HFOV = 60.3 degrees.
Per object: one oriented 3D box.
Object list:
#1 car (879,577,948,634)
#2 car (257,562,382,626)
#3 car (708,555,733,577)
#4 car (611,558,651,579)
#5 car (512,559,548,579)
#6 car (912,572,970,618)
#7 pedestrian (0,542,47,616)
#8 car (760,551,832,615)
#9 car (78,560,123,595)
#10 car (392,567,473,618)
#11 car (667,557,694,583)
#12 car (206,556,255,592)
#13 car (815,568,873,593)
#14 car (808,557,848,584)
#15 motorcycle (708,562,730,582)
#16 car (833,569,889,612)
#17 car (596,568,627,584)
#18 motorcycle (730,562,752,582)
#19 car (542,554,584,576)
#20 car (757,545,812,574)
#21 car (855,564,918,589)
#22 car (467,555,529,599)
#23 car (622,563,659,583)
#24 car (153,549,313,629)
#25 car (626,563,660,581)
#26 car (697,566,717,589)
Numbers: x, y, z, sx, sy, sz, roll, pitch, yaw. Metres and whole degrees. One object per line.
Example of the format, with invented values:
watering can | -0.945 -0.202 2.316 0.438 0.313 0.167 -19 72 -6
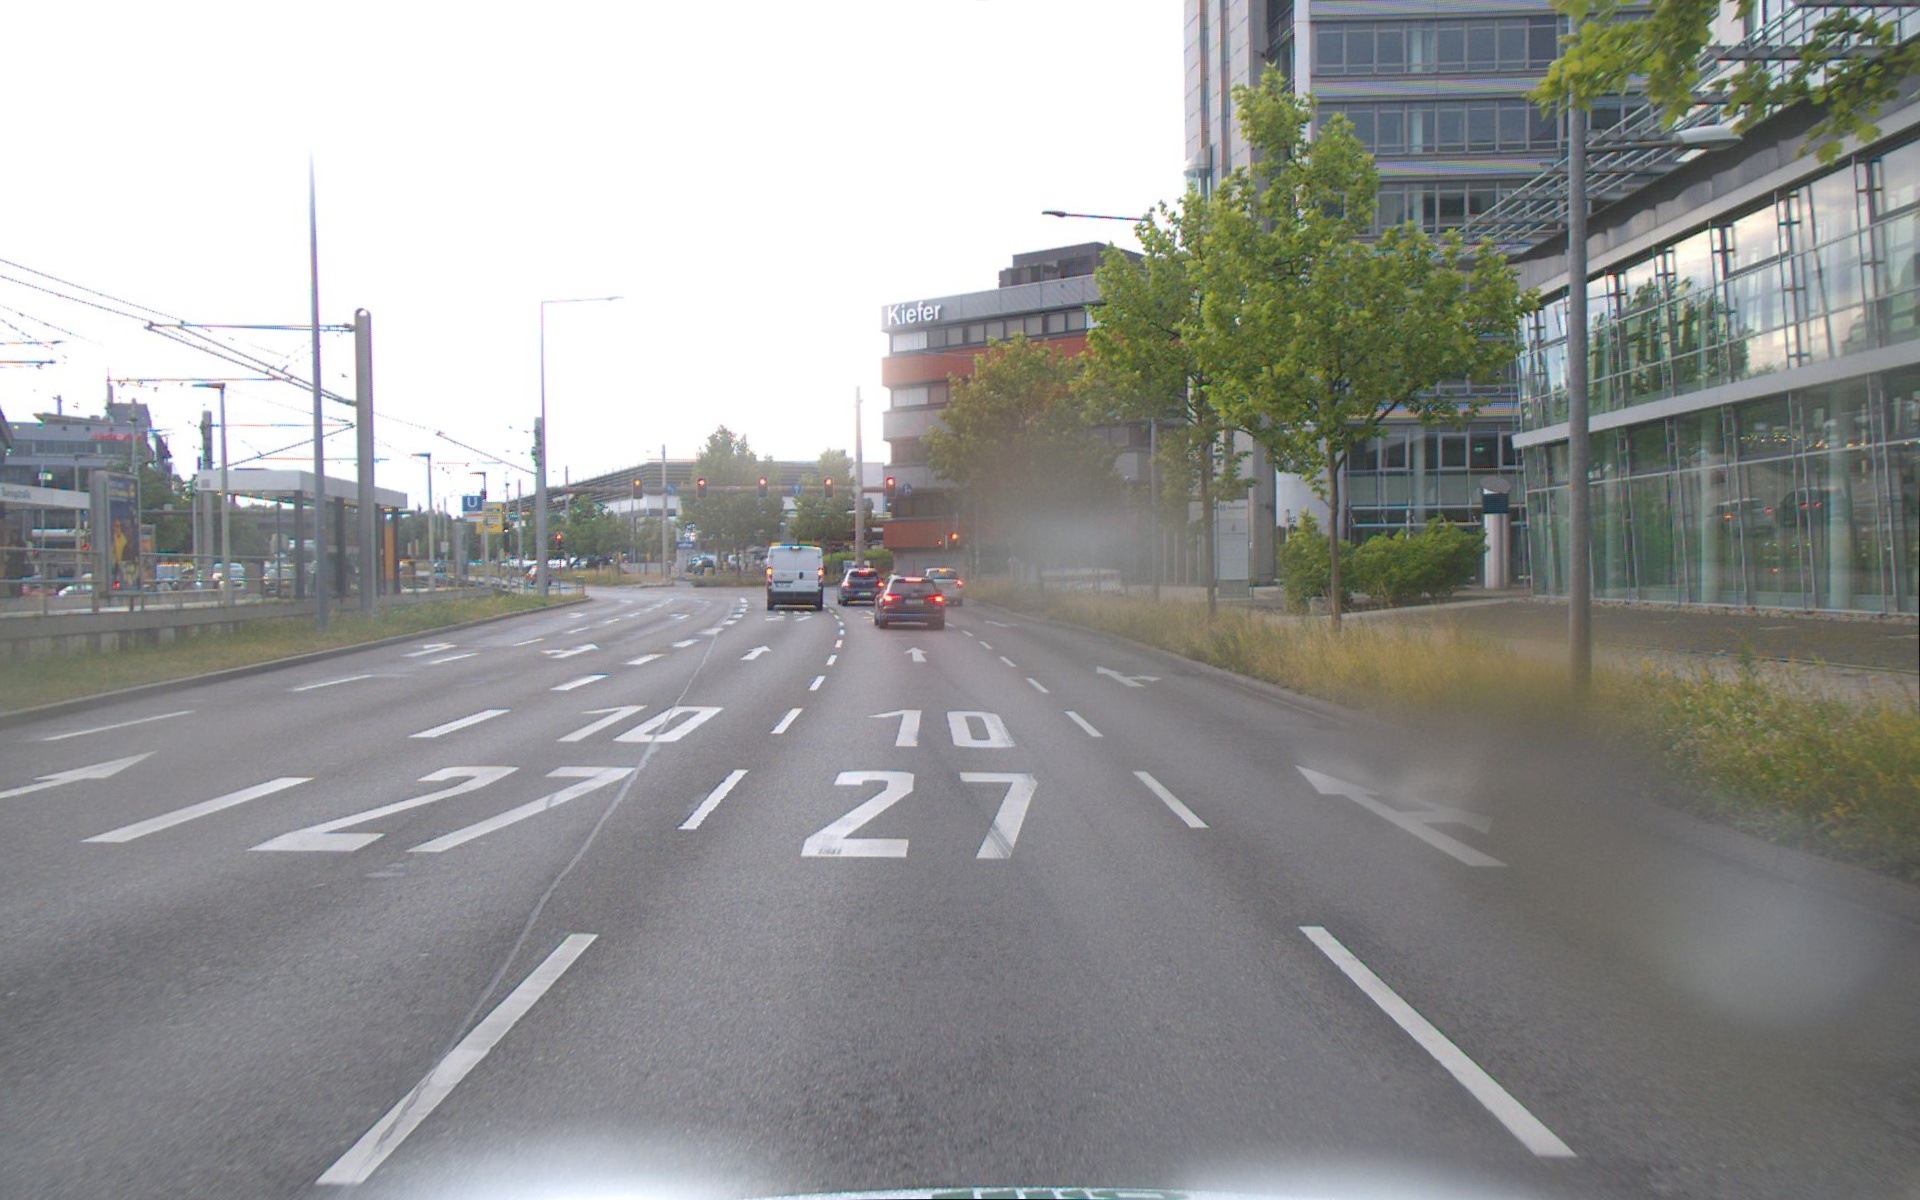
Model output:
car | -1.234 0.114 45.570 1.728 1.489 4.627 0 0 0
car | -16.020 -0.114 41.590 1.955 1.478 3.842 1 -2 -6
car | -24.903 -3.528 172.199 1.962 2.049 3.980 1 -3 -17
car | -35.605 -3.422 179.137 3.932 2.049 1.986 1 -3 -23
car | -51.149 -3.677 196.645 3.932 2.049 1.986 1 -3 -23
car | -0.799 -0.224 66.587 1.982 1.800 3.995 1 1 -6
pedestrian | -23.483 -0.518 41.458 0.737 1.782 0.763 1 -3 -5
car | -5.953 -0.591 60.518 2.462 2.215 5.145 1 0 -4
car | -56.532 -1.467 108.788 1.979 2.049 3.947 3 -4 -37
car | -19.236 -0.253 60.462 1.955 1.704 3.842 3 -1 -6
car | -25.615 -2.729 151.593 1.962 2.049 3.981 1 -3 -17
car | -46.741 -1.662 105.903 1.979 2.049 3.947 3 -4 -37
car | -8.211 -1.367 117.375 3.932 1.651 2.014 0 -1 44
car | -11.777 -2.606 147.413 1.973 2.049 3.958 2 -3 -30
motorcycle | -27.742 -3.221 190.579 1.961 2.049 3.981 1 -3 -16
car | -4.026 -0.345 66.648 1.983 1.651 3.993 1 0 -7
car | -48.032 -3.292 227.917 3.932 2.049 1.986 1 -3 -23
motorcycle | -25.365 -3.209 191.447 1.961 2.049 3.981 1 -3 -16
car | -40.876 -3.587 170.091 3.932 2.049 1.986 1 -3 -23
car | -13.238 -3.010 124.646 3.932 2.049 1.986 1 -1 44
car | -5.062 -1.585 113.667 4.251 1.651 2.014 0 -1 44
car | -20.907 -1.020 74.981 1.955 1.840 3.842 3 0 -6
car | -37.906 -3.194 196.261 3.932 2.049 1.986 1 -3 -23
car | -15.088 -0.278 34.572 1.955 1.477 3.844 1 3 -6
car | -40.776 -3.593 212.734 3.932 2.049 1.986 1 -3 -23
car | -25.669 -2.258 167.689 1.785 2.049 3.461 1 -3 -11
